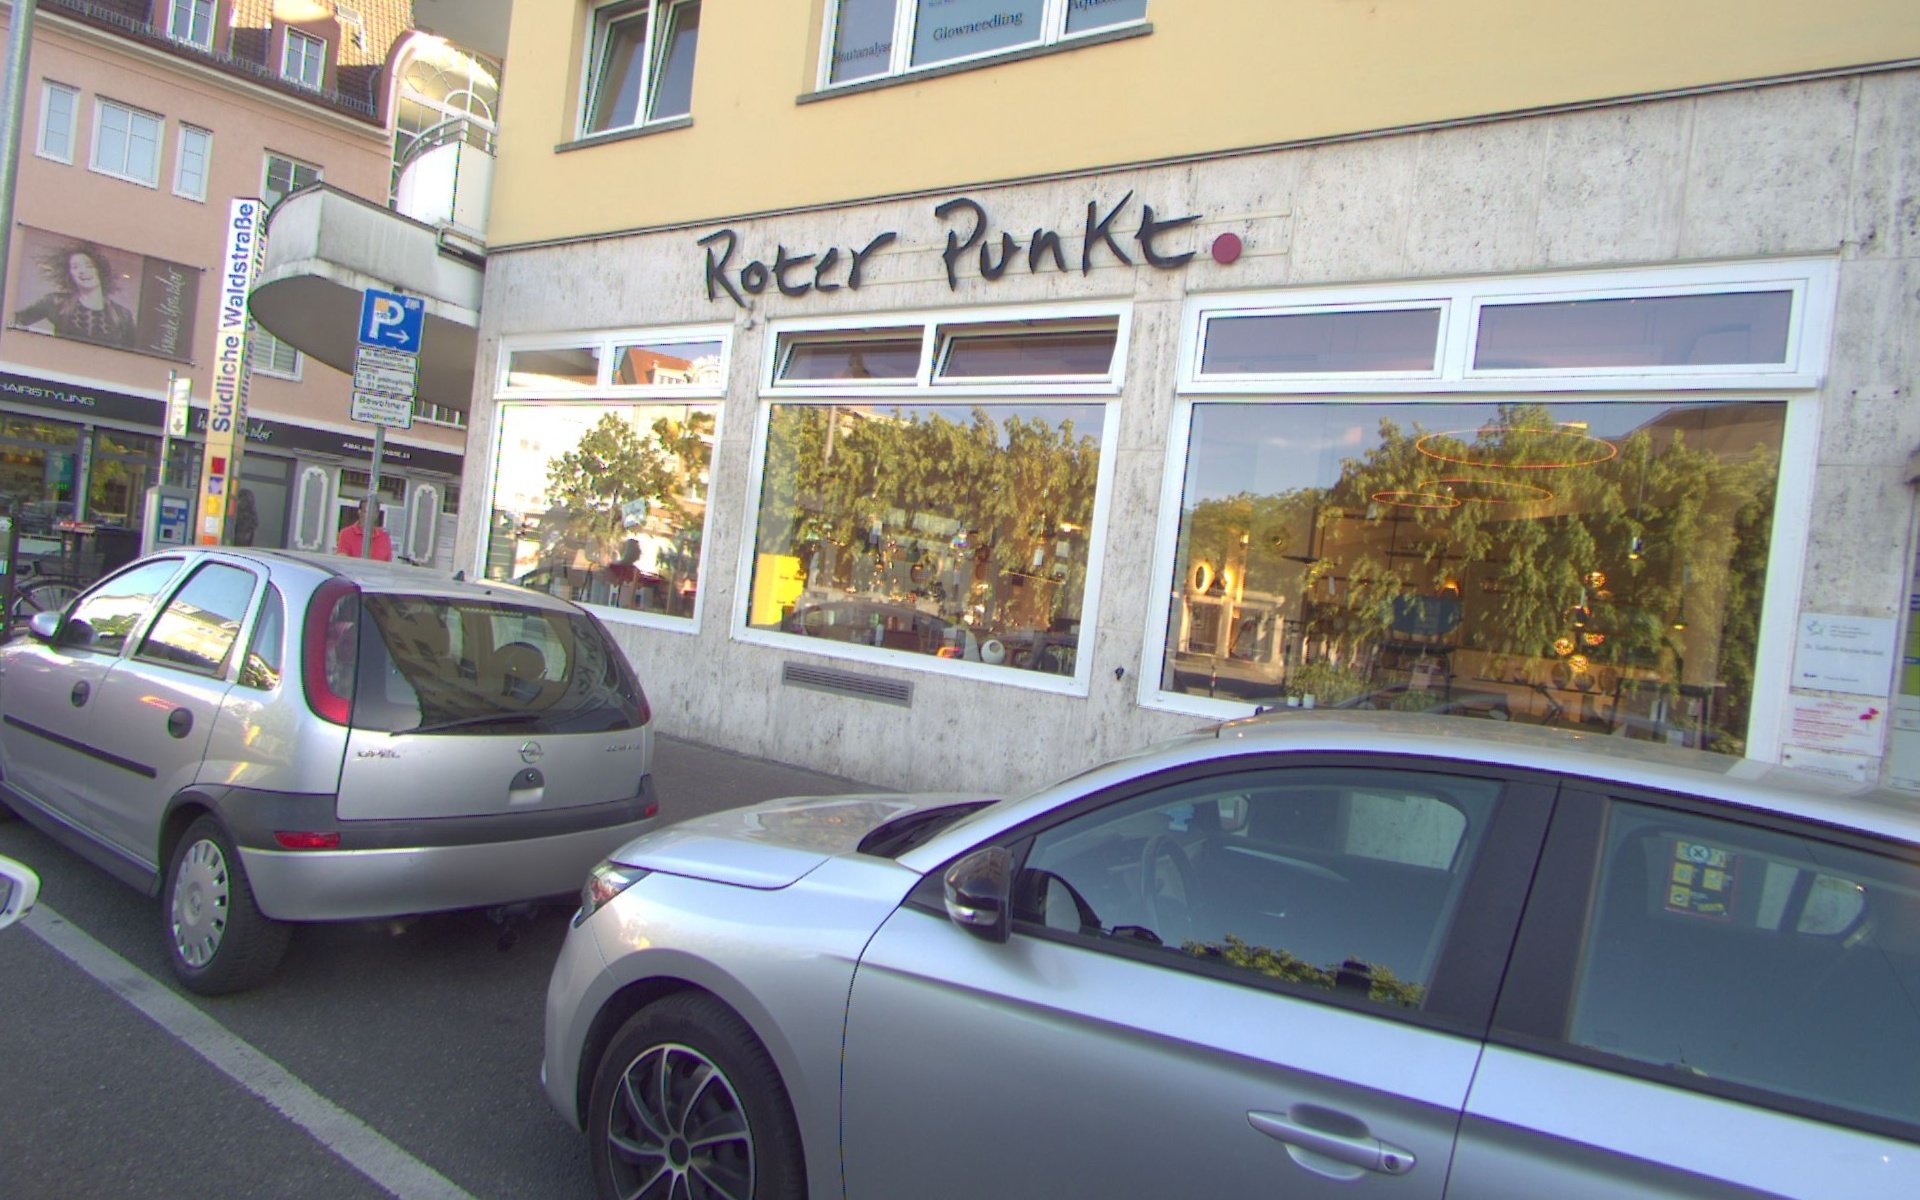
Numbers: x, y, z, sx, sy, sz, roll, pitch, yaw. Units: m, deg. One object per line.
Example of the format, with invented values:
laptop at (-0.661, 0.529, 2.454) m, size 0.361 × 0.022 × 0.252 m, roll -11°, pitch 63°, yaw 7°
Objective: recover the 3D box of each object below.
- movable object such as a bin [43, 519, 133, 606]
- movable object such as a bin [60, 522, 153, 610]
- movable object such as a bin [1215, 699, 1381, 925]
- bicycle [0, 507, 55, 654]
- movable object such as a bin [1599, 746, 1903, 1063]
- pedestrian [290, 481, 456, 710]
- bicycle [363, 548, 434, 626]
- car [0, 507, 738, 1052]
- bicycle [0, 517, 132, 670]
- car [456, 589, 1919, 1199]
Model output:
movable object such as a bin at (-12.429, -0.526, 14.346) m, size 0.617 × 1.105 × 0.734 m, roll 6°, pitch -1°, yaw 34°
movable object such as a bin at (-11.893, -0.468, 14.025) m, size 0.617 × 1.105 × 0.754 m, roll 6°, pitch -1°, yaw 34°
movable object such as a bin at (1.861, 1.100, 5.489) m, size 0.592 × 1.041 × 0.811 m, roll 7°, pitch 0°, yaw 32°
bicycle at (-9.102, -0.235, 8.699) m, size 0.778 × 1.284 × 1.721 m, roll 7°, pitch 1°, yaw 37°
movable object such as a bin at (3.434, 1.267, 4.474) m, size 0.879 × 1.066 × 0.751 m, roll 7°, pitch 0°, yaw 32°
pedestrian at (-5.005, -0.050, 8.575) m, size 0.994 × 1.808 × 0.862 m, roll 7°, pitch 3°, yaw 40°
bicycle at (-10.048, -0.254, 17.960) m, size 0.656 × 1.213 × 2.187 m, roll 7°, pitch -1°, yaw -39°
car at (-2.933, 0.480, 4.458) m, size 3.583 × 1.397 × 1.616 m, roll 7°, pitch -2°, yaw 32°
bicycle at (-8.097, -0.083, 8.225) m, size 0.681 × 1.208 × 1.885 m, roll 8°, pitch 1°, yaw 37°
car at (0.787, 0.927, 2.306) m, size 3.643 × 1.415 × 1.653 m, roll 7°, pitch -1°, yaw 30°
